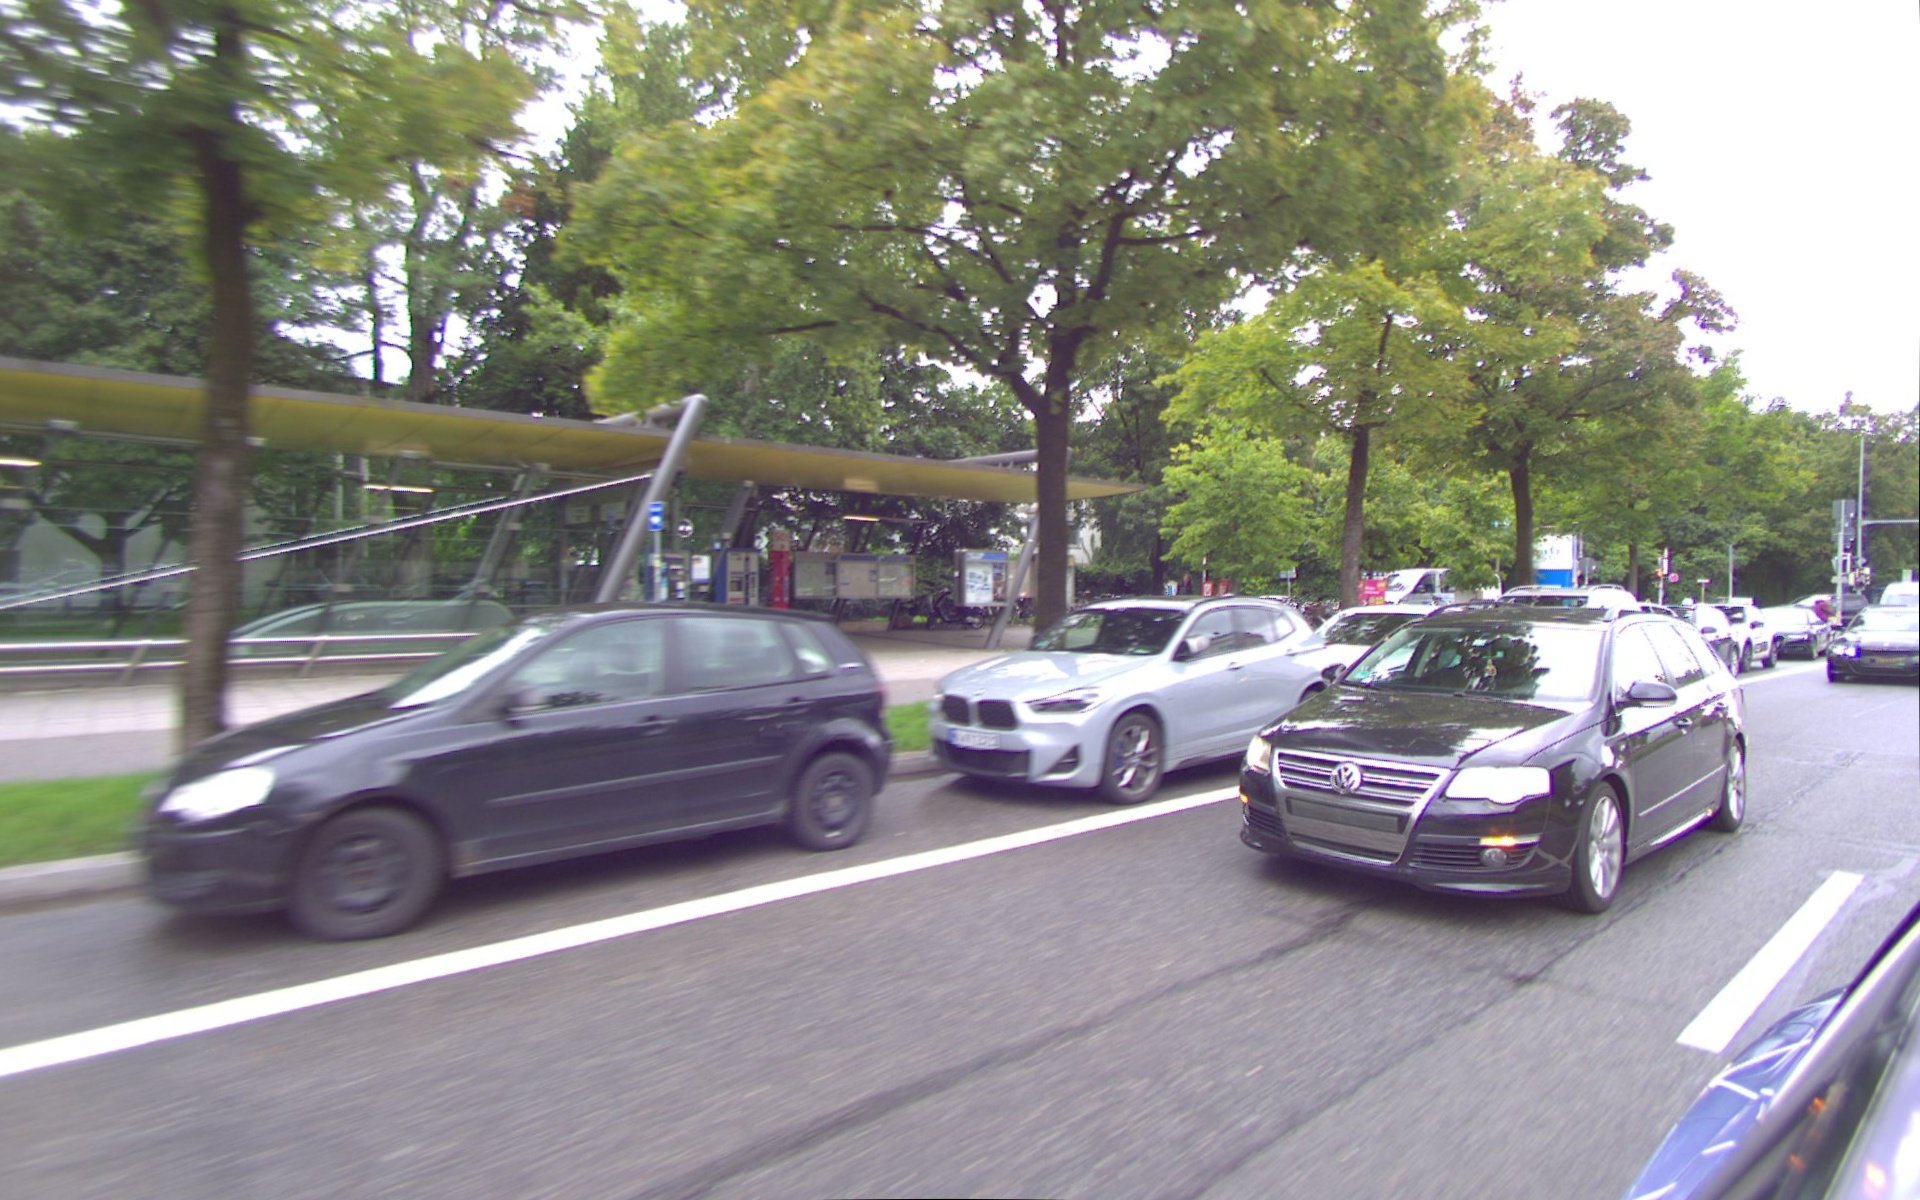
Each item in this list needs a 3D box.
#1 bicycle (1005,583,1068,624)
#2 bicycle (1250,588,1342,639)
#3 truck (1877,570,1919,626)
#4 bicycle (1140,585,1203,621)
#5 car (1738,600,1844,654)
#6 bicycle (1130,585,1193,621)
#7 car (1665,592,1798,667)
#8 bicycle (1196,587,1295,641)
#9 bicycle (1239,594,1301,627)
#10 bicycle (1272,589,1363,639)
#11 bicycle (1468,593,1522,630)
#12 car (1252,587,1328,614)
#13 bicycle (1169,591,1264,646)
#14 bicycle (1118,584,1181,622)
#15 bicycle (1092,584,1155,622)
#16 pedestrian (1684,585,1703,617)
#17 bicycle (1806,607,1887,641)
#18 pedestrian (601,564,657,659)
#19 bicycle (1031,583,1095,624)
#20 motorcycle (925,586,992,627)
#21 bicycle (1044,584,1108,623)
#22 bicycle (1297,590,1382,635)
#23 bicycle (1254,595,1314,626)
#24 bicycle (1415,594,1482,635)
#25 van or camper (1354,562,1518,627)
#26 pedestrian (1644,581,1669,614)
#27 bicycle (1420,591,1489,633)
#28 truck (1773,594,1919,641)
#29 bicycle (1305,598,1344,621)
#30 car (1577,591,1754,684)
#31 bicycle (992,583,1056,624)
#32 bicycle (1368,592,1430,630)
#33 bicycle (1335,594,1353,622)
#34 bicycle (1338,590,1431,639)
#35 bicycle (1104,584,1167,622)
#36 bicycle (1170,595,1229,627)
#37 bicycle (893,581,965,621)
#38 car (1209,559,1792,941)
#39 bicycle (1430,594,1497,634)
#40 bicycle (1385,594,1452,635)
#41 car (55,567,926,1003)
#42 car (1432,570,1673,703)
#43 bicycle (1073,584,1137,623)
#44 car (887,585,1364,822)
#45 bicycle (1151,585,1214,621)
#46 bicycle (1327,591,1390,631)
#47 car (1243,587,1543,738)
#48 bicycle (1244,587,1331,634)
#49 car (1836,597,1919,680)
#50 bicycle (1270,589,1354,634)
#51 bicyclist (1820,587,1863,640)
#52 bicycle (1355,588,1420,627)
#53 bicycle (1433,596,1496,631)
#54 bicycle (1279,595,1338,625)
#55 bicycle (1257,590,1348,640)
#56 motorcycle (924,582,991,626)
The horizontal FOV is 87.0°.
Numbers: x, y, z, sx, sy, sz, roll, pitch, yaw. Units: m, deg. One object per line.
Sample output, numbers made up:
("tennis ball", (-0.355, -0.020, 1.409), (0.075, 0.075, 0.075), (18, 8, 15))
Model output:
("bicycle", (2.462, 0.101, 32.843), (0.520, 1.171, 2.343), (1, 3, -41))
("bicycle", (8.886, 0.331, 26.858), (0.520, 1.171, 2.343), (1, 3, -41))
("truck", (47.801, -0.141, 49.993), (7.087, 2.636, 2.001), (0, 0, -33))
("bicycle", (7.620, 0.089, 36.609), (0.520, 1.171, 2.343), (1, 3, -41))
("car", (23.074, 0.694, 28.038), (4.543, 1.377, 1.712), (0, 0, -43))
("bicycle", (7.179, 0.090, 36.231), (0.520, 1.171, 2.343), (1, 3, -41))
("car", (17.940, 0.610, 23.466), (4.307, 1.567, 1.715), (0, 1, -42))
("bicycle", (7.073, 0.329, 25.205), (2.337, 1.171, 0.521), (4, 3, 41))
("bicycle", (11.695, 0.391, 38.207), (2.090, 1.168, 0.718), (1, 0, 4))
("bicycle", (9.711, 0.360, 27.557), (0.520, 1.171, 2.343), (1, 3, -41))
("bicycle", (18.384, 0.376, 34.765), (1.962, 1.213, 0.864), (0, 2, -37))
("car", (19.331, -0.004, 59.340), (1.600, 1.472, 3.941), (0, 1, -43))
("bicycle", (6.242, 0.423, 24.796), (0.520, 1.171, 2.343), (1, 3, -41))
("bicycle", (6.712, 0.091, 35.891), (0.520, 1.171, 2.343), (1, 3, -41))
("bicycle", (5.642, 0.093, 35.005), (0.520, 1.171, 2.343), (1, 3, -41))
("pedestrian", (39.634, 0.041, 54.691), (0.758, 1.724, 0.926), (1, 1, 40))
("bicycle", (30.082, 0.809, 34.383), (1.919, 1.094, 0.745), (1, 1, 14))
("pedestrian", (-5.498, 0.178, 16.828), (0.575, 1.532, 0.687), (0, 0, 31))
("bicycle", (3.362, 0.098, 33.306), (0.520, 1.171, 2.343), (1, 3, -41))
("motorcycle", (-0.052, 0.167, 27.609), (1.778, 1.075, 0.659), (1, 0, -2))
("bicycle", (3.841, 0.097, 33.642), (0.520, 1.171, 2.343), (1, 3, -41))
("bicycle", (11.280, 0.343, 30.131), (0.574, 1.171, 2.343), (1, 3, -41))
("bicycle", (12.603, 0.390, 39.371), (2.088, 1.168, 0.718), (1, 0, 0))
("bicycle", (15.063, 0.431, 31.238), (0.556, 1.156, 1.814), (1, 2, -31))
("van or camper", (18.037, -0.220, 38.302), (6.070, 2.325, 2.153), (0, 1, -23))
("pedestrian", (33.246, -0.112, 48.301), (0.722, 1.558, 0.694), (0, 0, -21))
("bicycle", (16.147, 0.376, 33.069), (1.936, 1.227, 0.559), (3, 2, 39))
("truck", (41.204, 0.774, 46.630), (5.704, 2.039, 2.105), (1, 1, 2))
("bicycle", (17.703, 0.440, 49.093), (2.073, 1.109, 0.610), (0, 1, -32))
("car", (13.487, 0.636, 19.241), (4.561, 1.567, 1.750), (0, 0, -42))
("bicycle", (2.028, 0.101, 32.389), (0.520, 1.171, 2.343), (1, 3, -41))
("bicycle", (14.420, 0.336, 33.256), (0.556, 1.156, 1.812), (0, 2, -35))
("bicycle", (17.674, 0.346, 46.573), (0.695, 1.266, 2.098), (1, 1, 23))
("bicycle", (11.726, 0.384, 28.030), (0.574, 1.171, 2.343), (1, 3, -41))
("bicycle", (6.127, 0.092, 35.533), (0.520, 1.171, 2.343), (1, 3, -41))
("bicycle", (9.004, 0.398, 38.085), (2.092, 1.168, 0.717), (1, 0, 6))
("bicycle", (-0.929, 0.028, 30.682), (2.303, 1.171, 0.529), (0, 3, -39))
("car", (3.561, 0.573, 6.175), (4.592, 1.493, 1.749), (0, 0, -43))
("bicycle", (16.060, 0.428, 32.291), (1.803, 1.156, 0.559), (3, 2, 39))
("bicycle", (14.001, 0.426, 30.941), (0.556, 1.156, 1.812), (0, 2, -35))
("car", (-2.232, 0.673, 5.541), (4.019, 1.554, 1.544), (0, -2, -41))
("car", (9.195, 0.488, 15.514), (4.820, 1.746, 1.750), (0, 0, -41))
("bicycle", (4.880, 0.094, 34.298), (0.520, 1.171, 2.343), (1, 3, -41))
("car", (1.613, 0.663, 8.740), (4.323, 1.554, 1.723), (0, 1, -41))
("bicycle", (8.104, 0.087, 36.939), (0.520, 1.171, 2.343), (1, 3, -41))
("bicycle", (12.802, 0.335, 32.515), (0.557, 1.156, 1.810), (0, 2, -40))
("car", (5.418, 0.635, 12.370), (4.428, 1.527, 1.703), (0, -1, -43))
("bicycle", (9.320, 0.284, 28.897), (0.574, 1.171, 2.343), (1, 3, -41))
("car", (18.704, 0.686, 19.723), (4.590, 1.447, 1.818), (0, 1, -41))
("bicycle", (10.453, 0.328, 30.120), (0.574, 1.171, 2.343), (1, 3, -41))
("bicyclist", (29.971, 0.449, 34.407), (0.815, 1.786, 0.743), (1, 0, 14))
("bicycle", (14.535, 0.245, 34.450), (1.936, 1.227, 0.559), (3, 2, 39))
("bicycle", (16.951, 0.443, 34.013), (1.803, 1.085, 0.559), (3, 2, 39))
("bicycle", (14.111, 0.387, 41.003), (2.088, 1.168, 0.718), (1, 0, 0))
("bicycle", (9.212, 0.380, 27.308), (0.520, 1.171, 2.343), (1, 3, -41))
("motorcycle", (-0.078, 0.115, 28.522), (1.775, 1.192, 0.660), (1, 0, -15))
